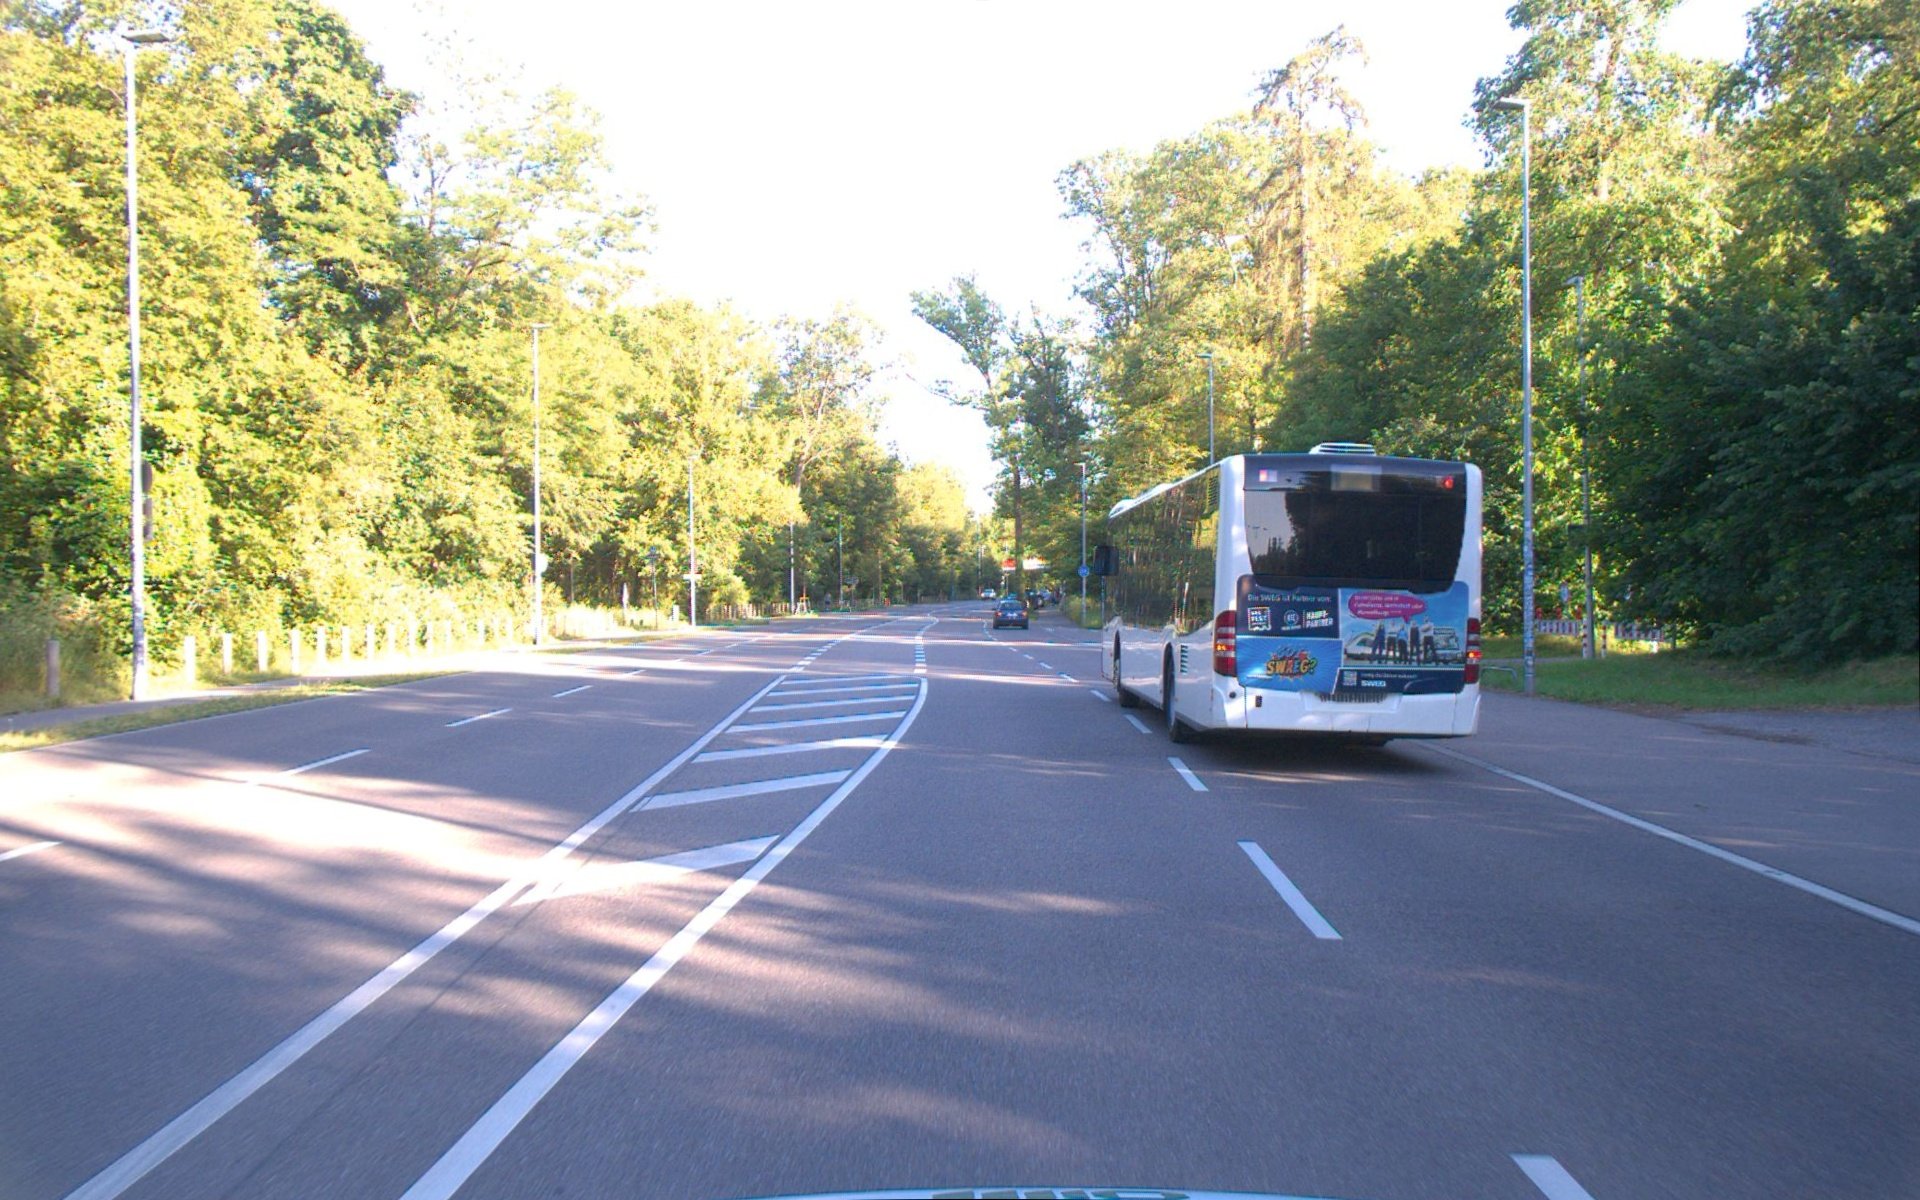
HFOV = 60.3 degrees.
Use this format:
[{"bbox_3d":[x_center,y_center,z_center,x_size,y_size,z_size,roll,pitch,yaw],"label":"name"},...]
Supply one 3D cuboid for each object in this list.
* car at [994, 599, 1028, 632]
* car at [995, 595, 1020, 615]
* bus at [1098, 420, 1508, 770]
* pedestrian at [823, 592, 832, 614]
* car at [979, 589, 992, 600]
[{"bbox_3d":[2.610,0.775,83.615,1.597,1.574,4.133,1,0,3],"label":"car"},{"bbox_3d":[4.091,0.465,142.355,1.597,1.688,4.135,1,0,9],"label":"car"},{"bbox_3d":[3.575,-0.009,20.823,2.634,3.096,12.040,1,0,0],"label":"bus"},{"bbox_3d":[-11.466,0.258,142.943,0.763,1.844,0.770,0,0,-1],"label":"pedestrian"},{"bbox_3d":[3.801,-0.850,245.183,1.824,1.564,4.133,1,0,3],"label":"car"}]
